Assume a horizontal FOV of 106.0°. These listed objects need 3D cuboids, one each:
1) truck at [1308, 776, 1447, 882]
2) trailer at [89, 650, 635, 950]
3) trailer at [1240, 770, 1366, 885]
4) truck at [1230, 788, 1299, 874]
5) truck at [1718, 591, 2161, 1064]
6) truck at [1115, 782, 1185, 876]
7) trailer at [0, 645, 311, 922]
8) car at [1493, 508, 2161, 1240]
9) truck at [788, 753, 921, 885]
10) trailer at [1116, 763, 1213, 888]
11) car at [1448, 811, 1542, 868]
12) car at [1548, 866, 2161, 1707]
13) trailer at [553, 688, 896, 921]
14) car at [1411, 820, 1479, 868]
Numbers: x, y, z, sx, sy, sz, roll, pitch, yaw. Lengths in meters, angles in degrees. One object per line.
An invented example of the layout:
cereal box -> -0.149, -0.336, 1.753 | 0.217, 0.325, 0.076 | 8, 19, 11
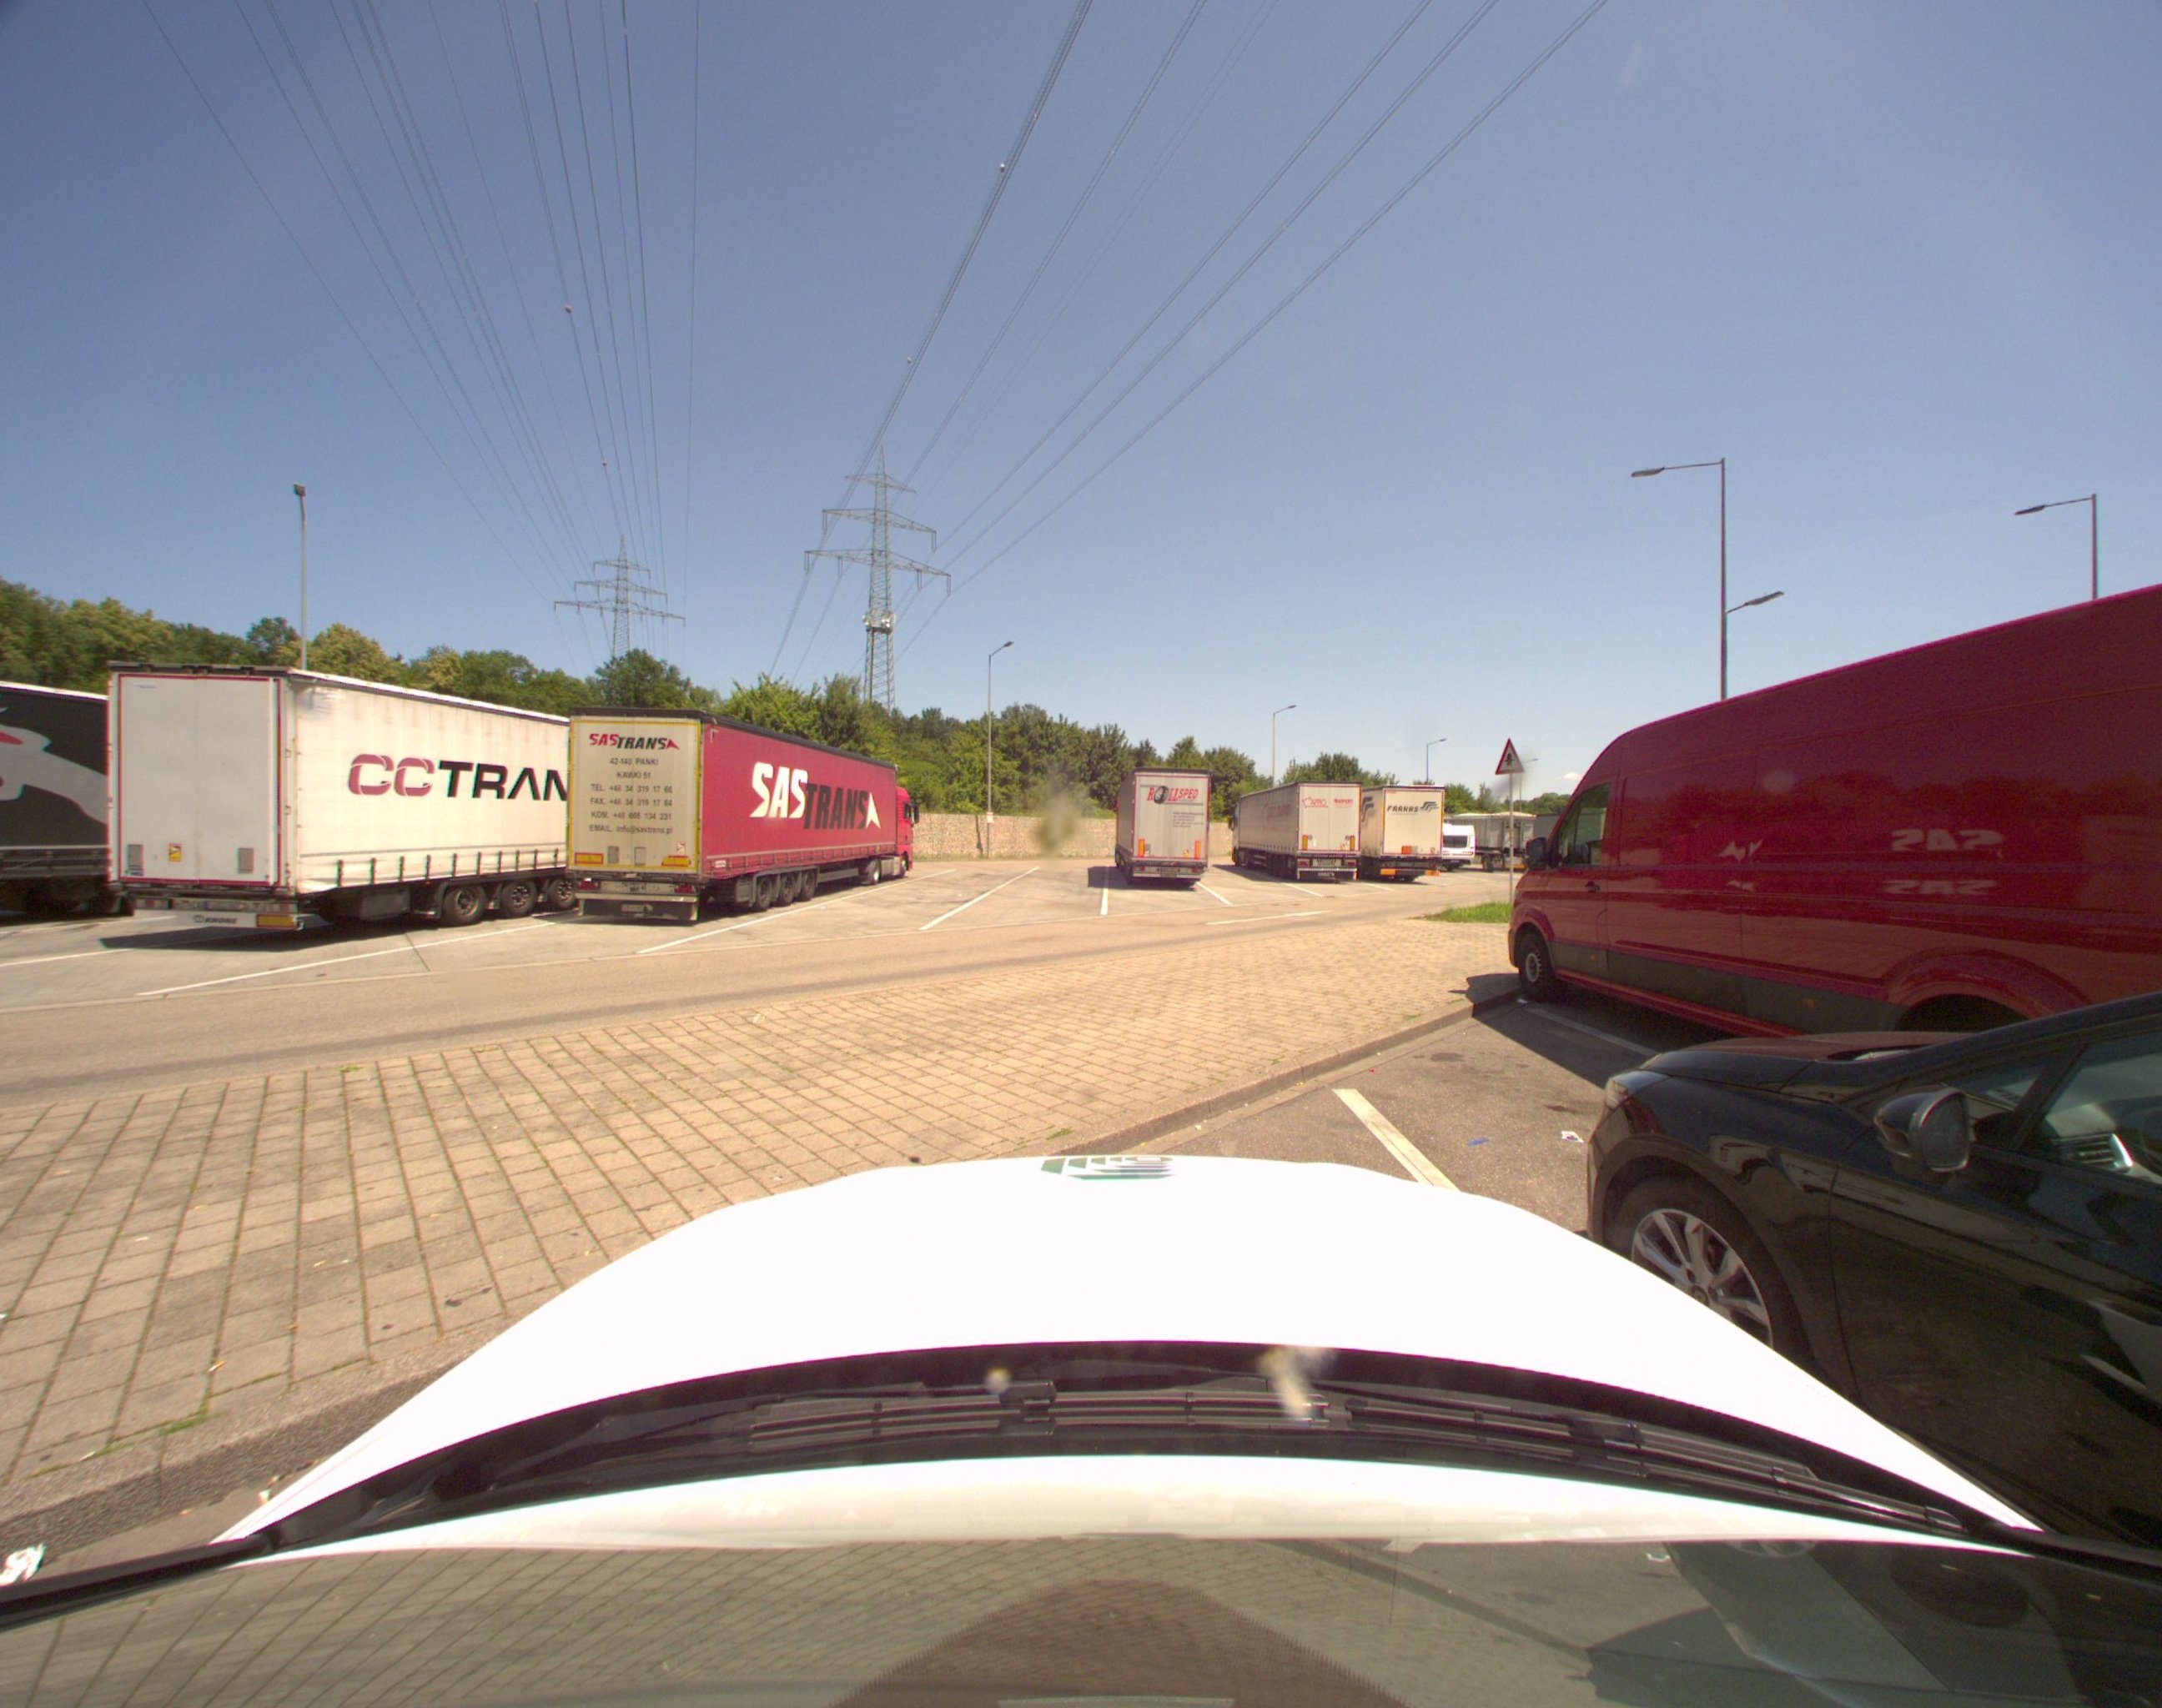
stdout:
truck -> 13.531, -0.946, 38.576 | 2.577, 4.226, 11.974 | 0, -1, 2
trailer -> -12.231, -0.809, 15.420 | 2.744, 4.152, 8.291 | 0, 1, 2
trailer -> 9.900, -1.119, 38.133 | 2.672, 4.452, 12.833 | -1, 1, 1
truck -> 10.077, -1.240, 45.283 | 2.651, 4.452, 5.866 | -1, 1, 2
truck -> 7.793, -0.155, 6.057 | 2.508, 2.827, 4.821 | 0, -1, 3
truck -> 3.061, -1.093, 37.756 | 2.861, 3.980, 6.031 | -1, 1, 1
trailer -> -18.562, -1.145, 15.015 | 2.668, 4.444, 6.151 | -1, 1, 2
car -> 5.132, 0.027, 5.513 | 1.984, 2.633, 6.393 | -1, 1, 5
truck -> -7.753, -1.138, 28.710 | 2.795, 4.133, 5.896 | -1, 1, 2
trailer -> 2.955, -1.005, 32.136 | 2.887, 4.013, 11.320 | -1, 1, 1
car -> 24.113, -0.830, 47.819 | 2.490, 3.074, 6.353 | -1, 1, 2
car -> 2.541, 0.761, 0.906 | 1.773, 1.457, 3.681 | 0, -1, -4
trailer -> -8.003, -0.999, 21.453 | 2.789, 4.219, 13.208 | -1, 1, 2
car -> 20.535, -0.526, 46.129 | 2.107, 2.599, 4.001 | 0, -1, 2
